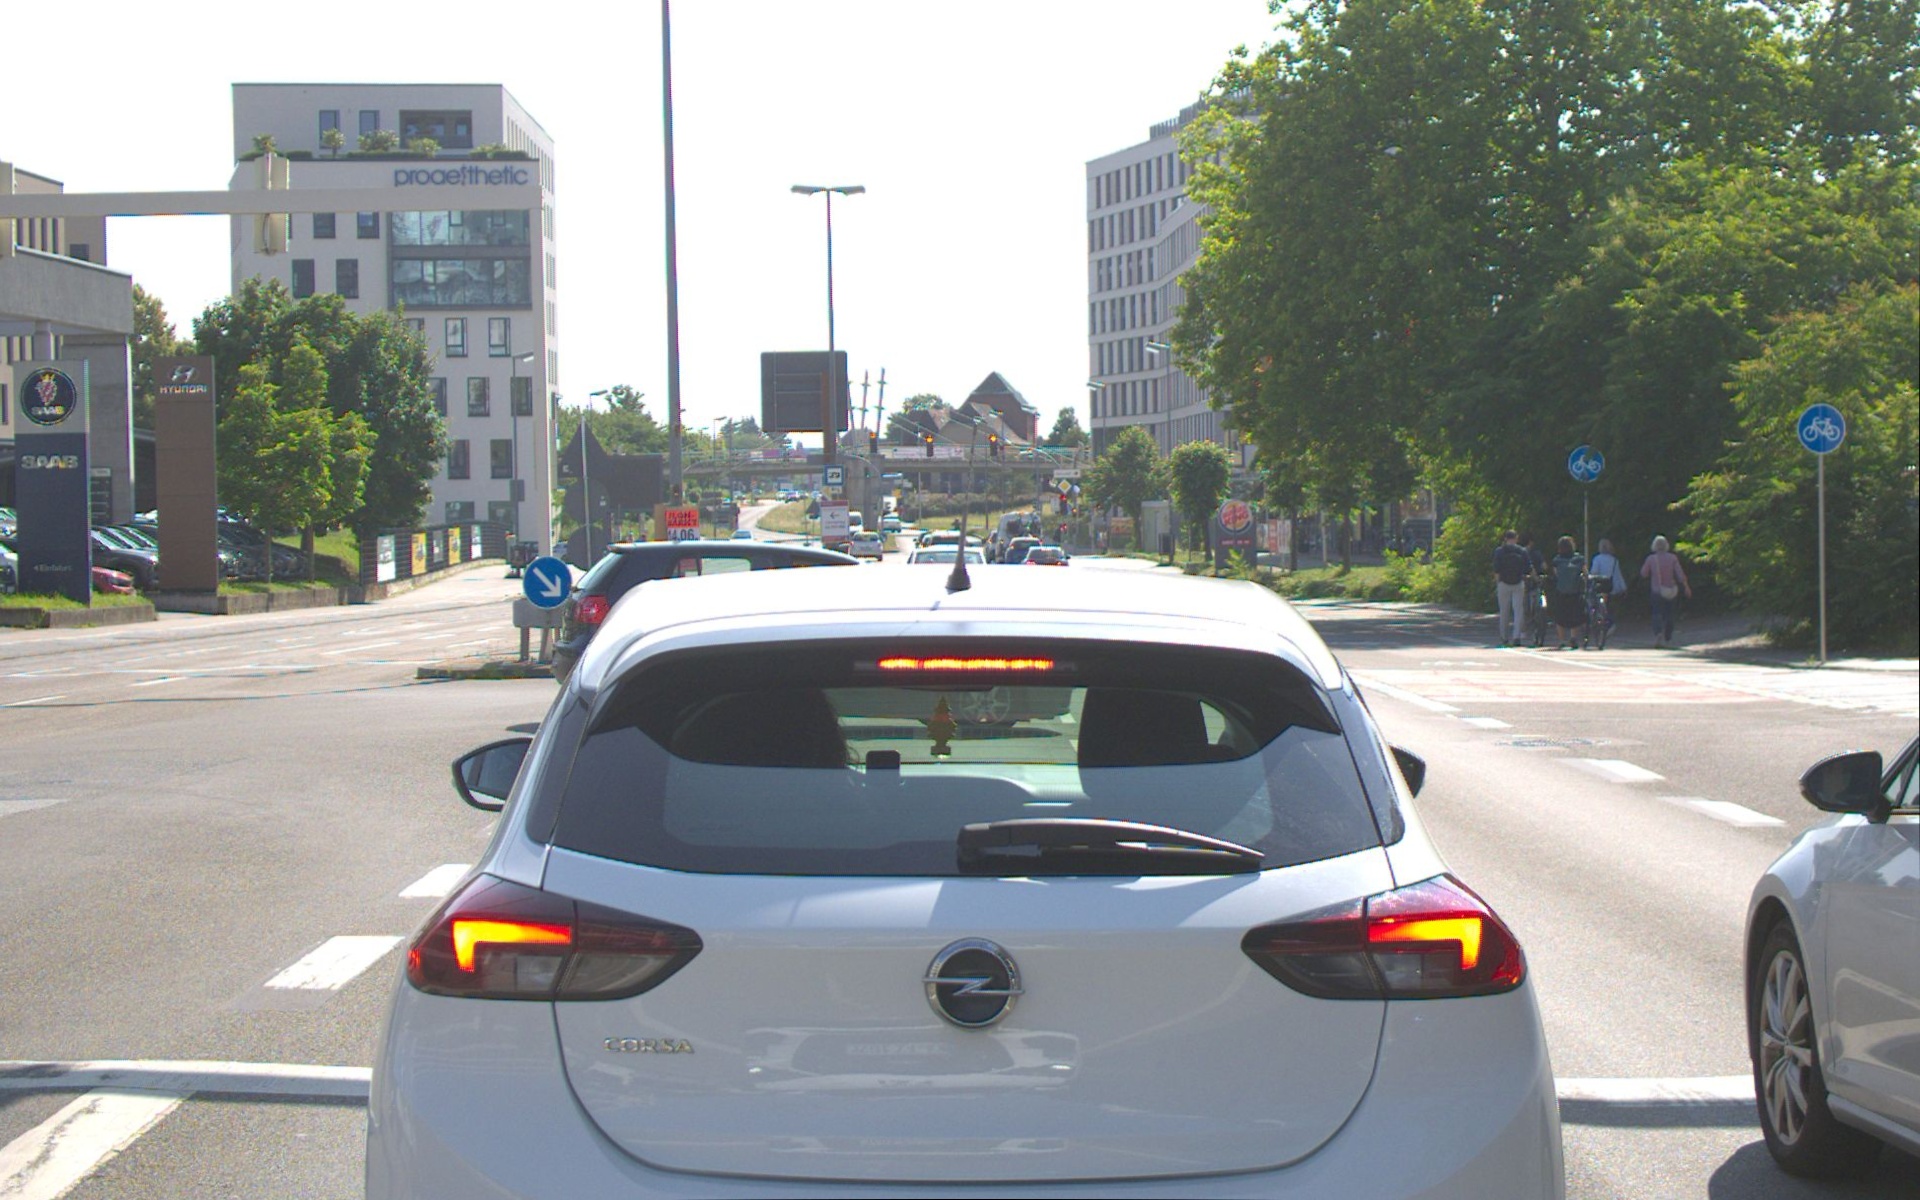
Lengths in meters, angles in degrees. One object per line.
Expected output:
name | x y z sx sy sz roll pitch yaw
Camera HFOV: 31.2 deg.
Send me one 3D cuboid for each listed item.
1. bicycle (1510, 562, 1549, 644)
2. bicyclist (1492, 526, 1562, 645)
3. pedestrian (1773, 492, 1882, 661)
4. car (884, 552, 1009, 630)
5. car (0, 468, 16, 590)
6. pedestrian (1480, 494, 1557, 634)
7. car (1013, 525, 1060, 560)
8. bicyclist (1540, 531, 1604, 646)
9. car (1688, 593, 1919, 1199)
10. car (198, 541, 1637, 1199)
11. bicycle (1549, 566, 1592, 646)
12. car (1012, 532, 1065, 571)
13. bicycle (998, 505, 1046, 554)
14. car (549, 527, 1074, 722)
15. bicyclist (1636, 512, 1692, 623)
bicycle | 8.547 0.042 51.619 0.372 1.212 1.154 1 1 -1
bicyclist | 8.507 -0.226 51.615 0.879 1.766 0.864 -1 1 0
pedestrian | 10.476 -0.286 41.569 1.027 2.007 1.039 -1 1 -1
car | -0.277 -0.168 62.087 1.993 1.327 4.001 1 0 -4
car | -22.551 -1.480 73.032 4.357 2.592 2.000 -1 1 5
pedestrian | 8.982 -0.585 55.308 1.027 2.231 1.039 -1 1 -1
car | 3.149 -2.375 141.875 1.806 1.381 4.000 1 0 -1
bicyclist | 8.869 -0.176 49.822 0.688 1.637 0.777 -1 1 -9
car | 2.854 0.710 6.826 1.807 1.424 4.000 -1 1 -2
car | -0.075 0.648 6.278 1.779 1.489 4.000 -1 1 -1
bicycle | 8.836 0.082 49.769 0.373 1.143 1.034 1 0 -3
car | 2.921 -1.796 128.328 1.806 1.381 4.000 1 0 -1
bicycle | 2.798 -3.197 155.539 1.993 2.150 4.000 -1 1 -1
car | -1.242 0.162 27.512 3.986 1.437 2.001 -1 1 -9
bicyclist | 10.384 -0.478 50.720 0.652 1.631 0.659 1 0 0
